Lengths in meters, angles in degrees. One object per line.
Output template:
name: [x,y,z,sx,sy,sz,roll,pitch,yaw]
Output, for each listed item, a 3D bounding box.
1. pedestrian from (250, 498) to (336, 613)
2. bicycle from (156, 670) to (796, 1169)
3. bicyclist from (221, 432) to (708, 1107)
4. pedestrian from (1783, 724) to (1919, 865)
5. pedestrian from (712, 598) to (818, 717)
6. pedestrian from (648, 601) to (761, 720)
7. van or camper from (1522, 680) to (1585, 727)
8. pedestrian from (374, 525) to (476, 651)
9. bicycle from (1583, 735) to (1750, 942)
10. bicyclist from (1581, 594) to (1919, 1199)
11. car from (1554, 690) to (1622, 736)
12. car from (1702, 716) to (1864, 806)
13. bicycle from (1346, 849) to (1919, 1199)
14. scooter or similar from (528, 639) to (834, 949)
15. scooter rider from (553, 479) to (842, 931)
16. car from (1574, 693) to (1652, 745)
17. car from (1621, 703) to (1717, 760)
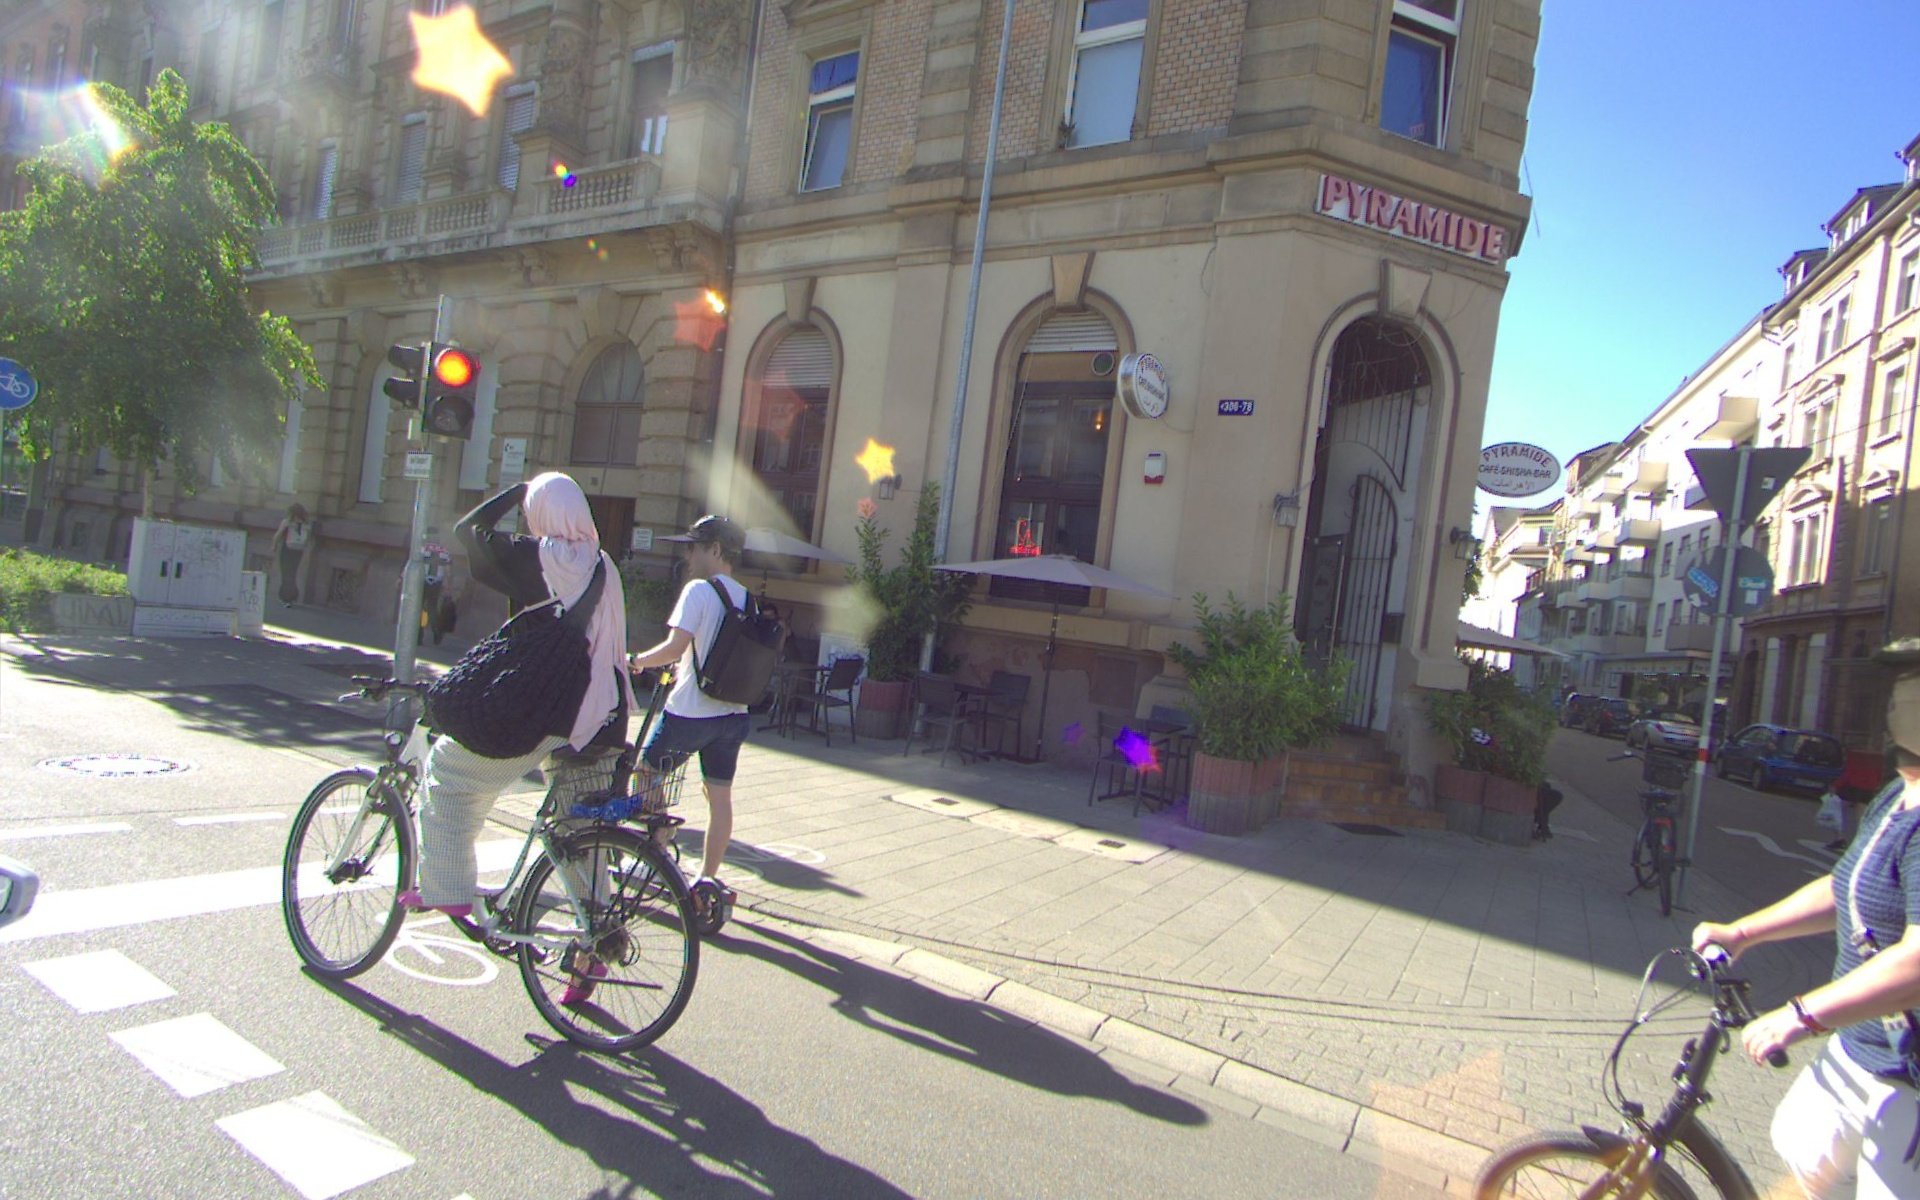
pedestrian: [-12.213,-0.813,18.427,1.081,1.945,0.889,7,2,37]
bicycle: [-1.614,0.886,3.322,1.917,1.018,0.726,7,-1,24]
bicyclist: [-1.620,0.466,3.352,1.071,1.839,0.726,7,-1,23]
pedestrian: [11.535,2.486,13.045,0.891,1.592,0.835,7,-1,4]
pedestrian: [-2.339,0.693,12.102,0.873,1.298,0.726,6,0,31]
pedestrian: [-2.868,0.674,11.311,0.867,1.197,0.718,6,0,31]
van or camper: [30.230,5.222,51.379,1.850,1.867,4.545,9,1,22]
pedestrian: [-7.938,-0.181,14.912,0.966,1.714,1.100,4,2,-44]
bicycle: [5.773,1.824,8.177,0.804,1.247,2.211,11,2,38]
bicyclist: [1.961,0.948,2.099,0.972,1.747,0.853,7,-1,32]
car: [25.891,4.629,41.563,1.599,1.424,3.439,9,1,22]
car: [18.389,3.533,22.688,1.587,1.428,3.703,7,-1,21]
bicycle: [1.909,1.296,2.101,1.920,1.018,0.829,7,-1,32]
scooter or similar: [-1.324,0.859,4.797,1.130,1.172,0.647,7,-1,26]
scooter rider: [-1.231,0.451,4.781,0.882,1.888,0.663,7,-1,27]
car: [23.863,4.306,36.879,1.599,1.424,3.439,9,1,22]
car: [21.522,3.966,30.659,1.600,1.337,3.389,7,-1,24]
